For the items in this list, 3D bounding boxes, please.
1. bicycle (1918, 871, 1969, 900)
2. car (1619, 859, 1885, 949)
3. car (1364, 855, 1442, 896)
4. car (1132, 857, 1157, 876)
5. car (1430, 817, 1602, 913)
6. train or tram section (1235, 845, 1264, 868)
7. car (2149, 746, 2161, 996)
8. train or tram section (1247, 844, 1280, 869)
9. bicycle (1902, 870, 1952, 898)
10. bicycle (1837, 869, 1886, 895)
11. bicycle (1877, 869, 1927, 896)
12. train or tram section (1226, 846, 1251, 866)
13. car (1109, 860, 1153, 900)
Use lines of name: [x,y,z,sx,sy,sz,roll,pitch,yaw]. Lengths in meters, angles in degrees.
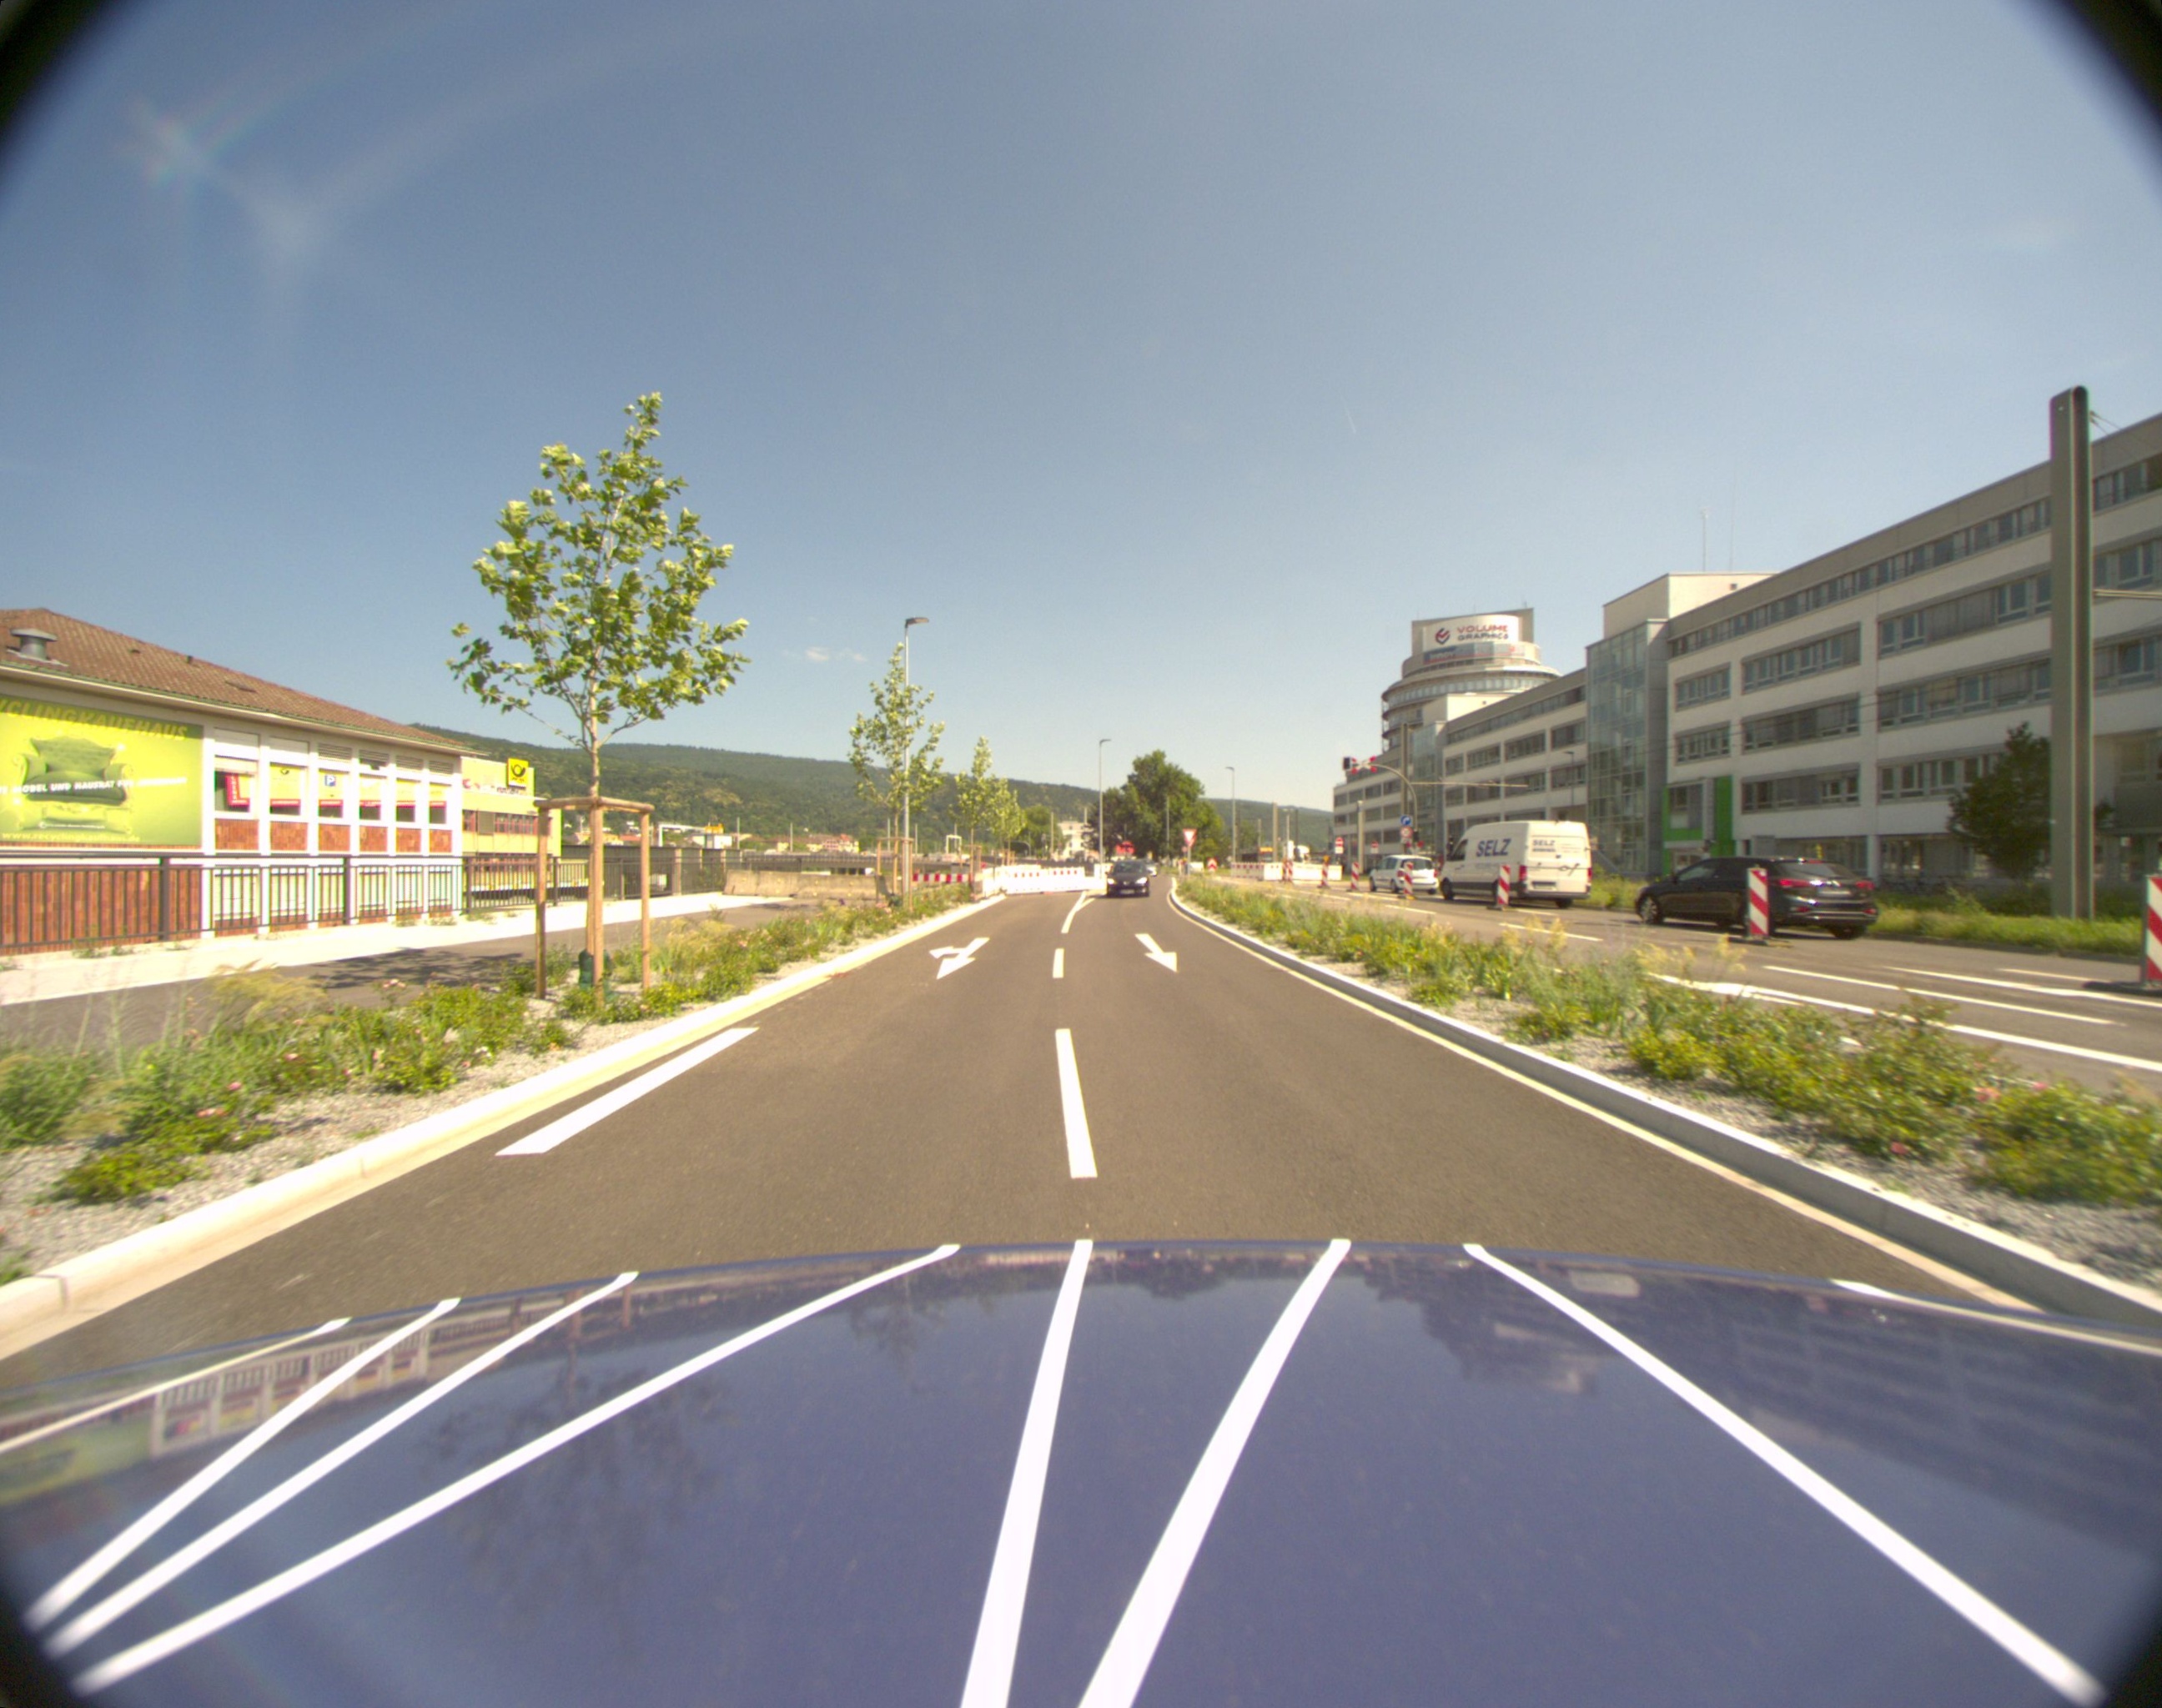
bicycle: [37.416,1.365,32.965,1.650,1.182,0.438,-2,0,2]
car: [12.820,0.857,14.929,1.549,1.448,4.193,2,0,2]
car: [13.221,0.832,31.415,1.584,1.532,3.978,2,0,2]
car: [5.109,0.972,61.519,1.619,1.433,3.767,0,0,-3]
car: [13.432,0.314,24.085,2.035,2.563,6.196,2,0,3]
train or tram section: [27.517,0.381,124.509,2.631,3.430,11.784,-2,0,3]
car: [12.692,0.203,5.314,2.082,2.724,5.987,1,0,2]
train or tram section: [26.902,0.346,112.730,2.631,3.430,11.784,-2,0,3]
bicycle: [37.544,1.336,33.720,1.650,1.182,0.438,-2,0,3]
bicycle: [37.577,1.364,36.592,1.650,1.182,0.522,-2,0,7]
bicycle: [37.982,1.336,35.145,1.650,1.182,0.438,-2,0,7]
train or tram section: [28.123,0.382,136.292,2.631,3.430,11.784,-2,0,3]
car: [1.895,0.973,29.703,1.618,1.433,3.707,0,0,2]
